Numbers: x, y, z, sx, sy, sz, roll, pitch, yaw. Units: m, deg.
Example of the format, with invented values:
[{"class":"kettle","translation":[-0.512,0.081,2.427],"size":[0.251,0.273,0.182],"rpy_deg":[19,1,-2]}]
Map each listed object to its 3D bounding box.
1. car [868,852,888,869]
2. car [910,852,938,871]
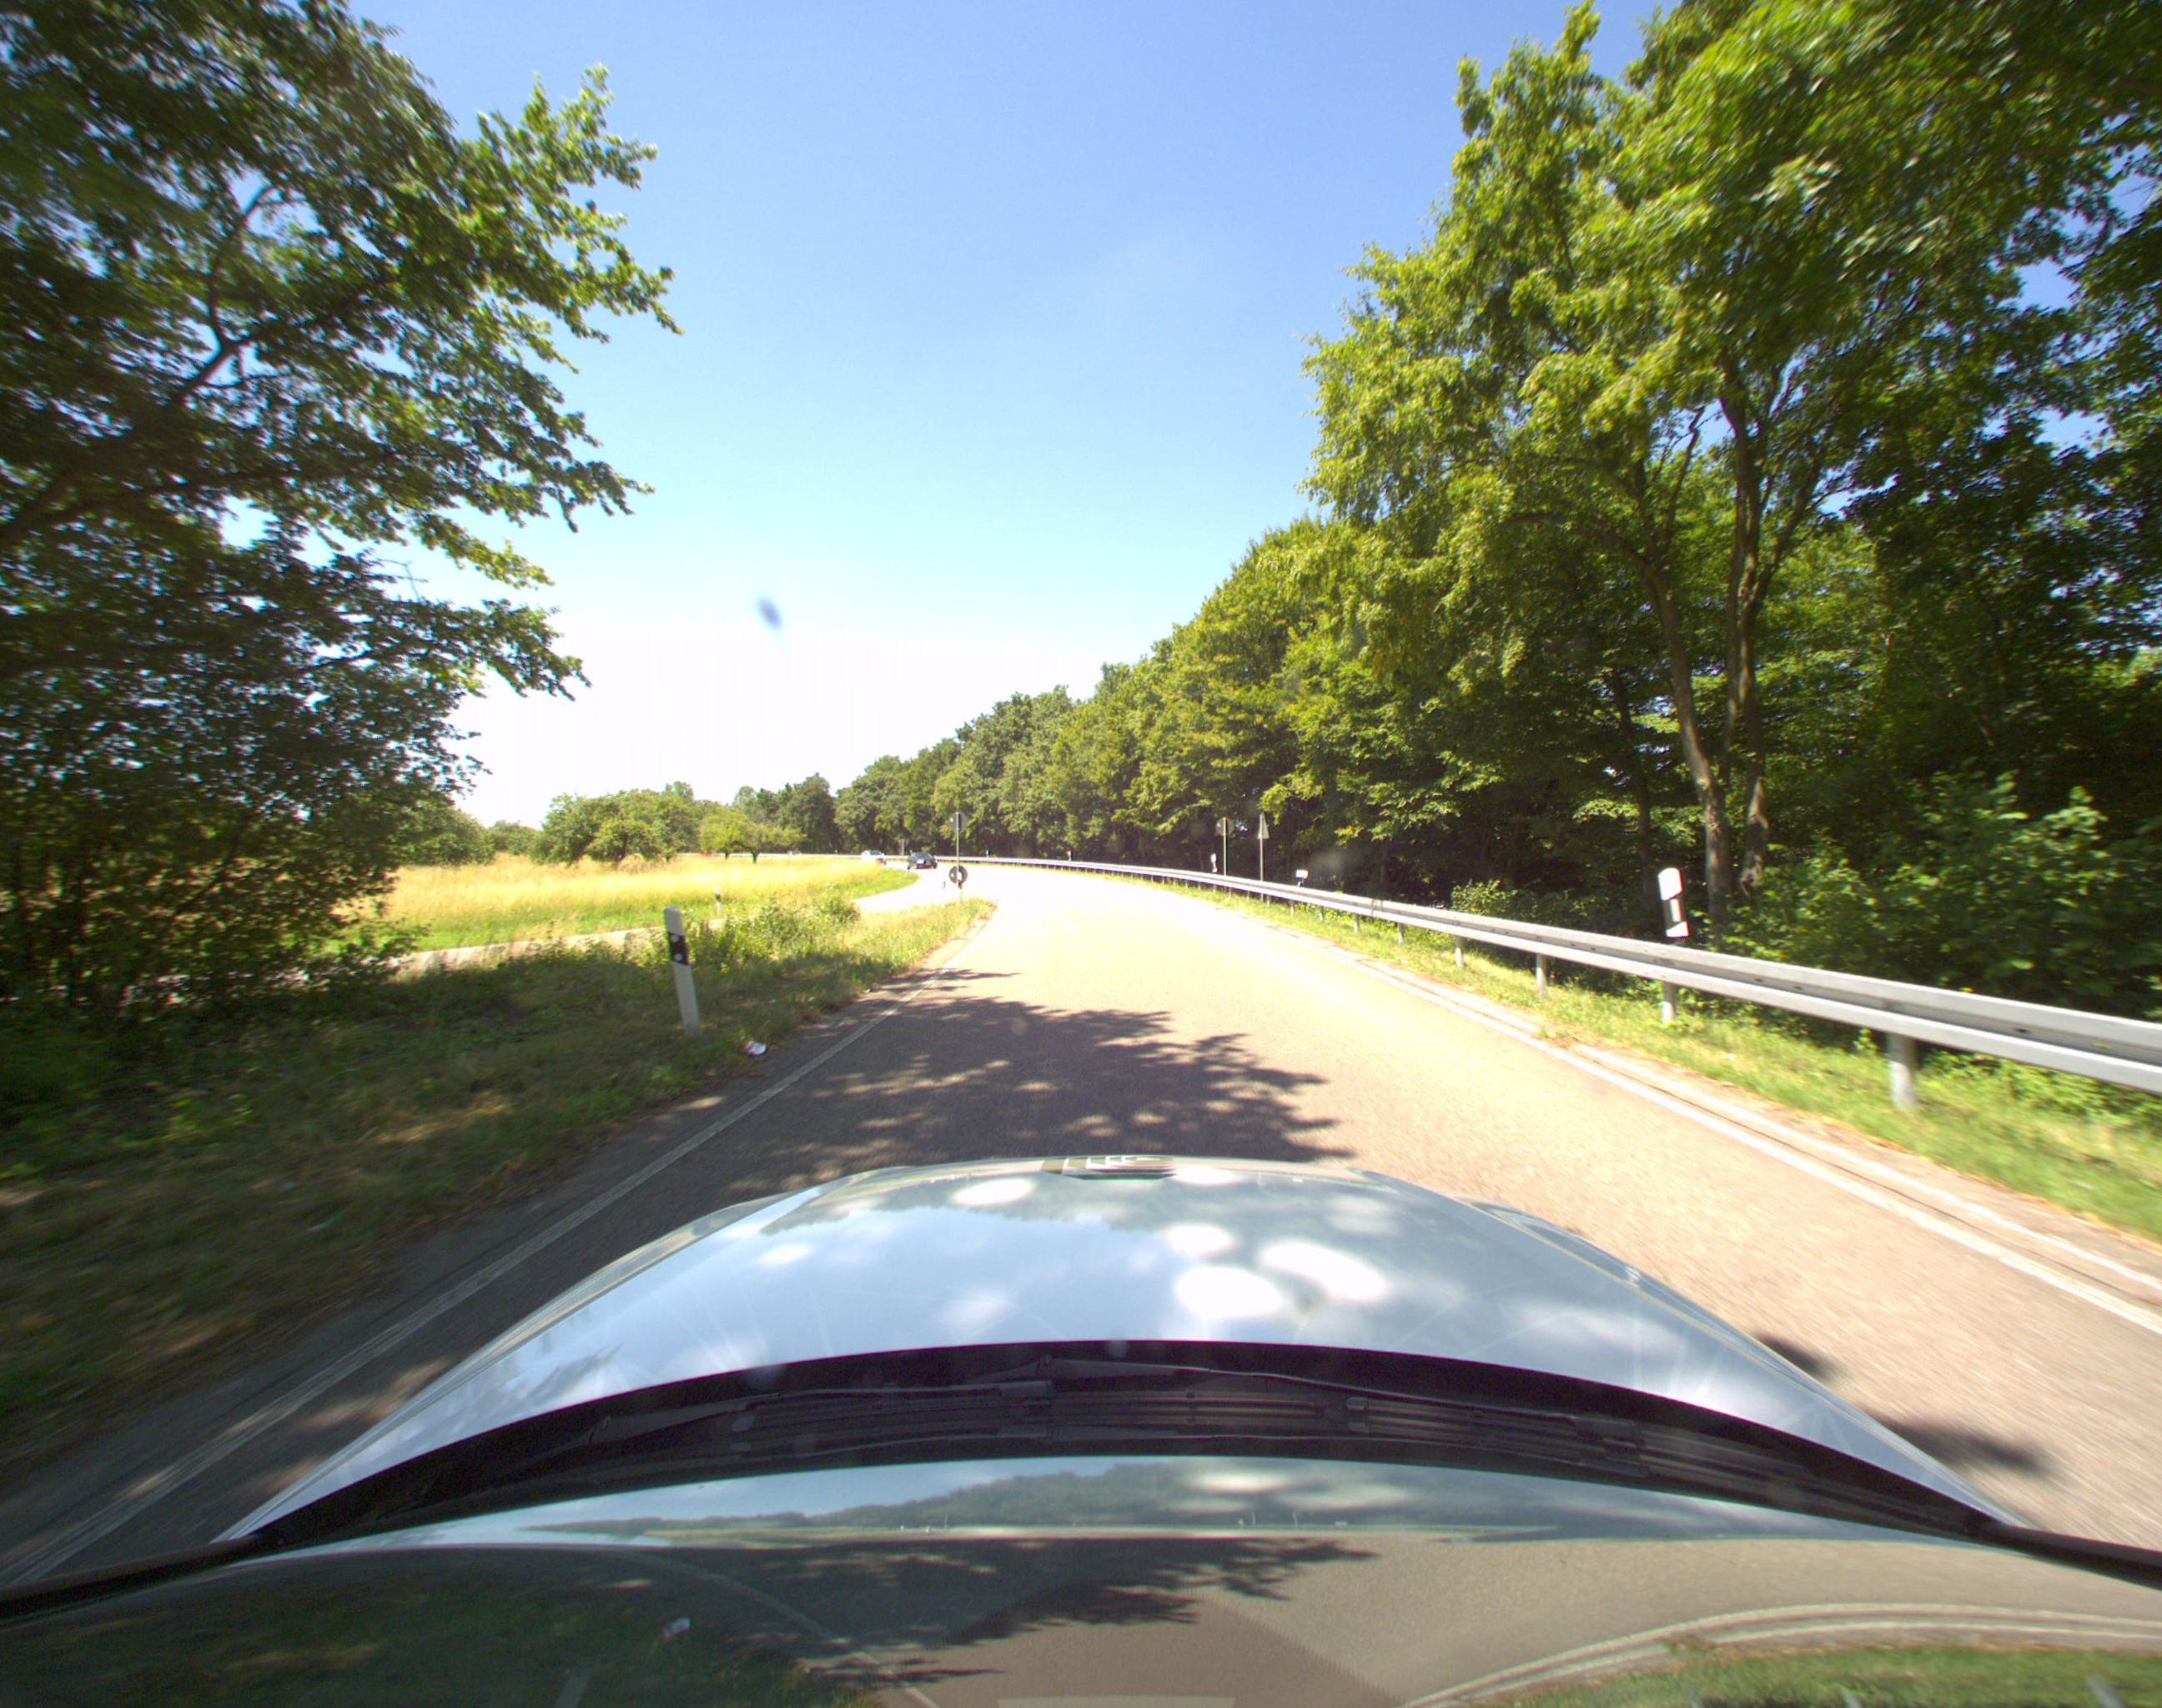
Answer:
[{"class":"car","translation":[-21.983,0.716,88.152],"size":[1.827,1.590,4.193],"rpy_deg":[-5,0,-17]},{"class":"car","translation":[-13.921,0.670,72.107],"size":[1.808,1.506,4.628],"rpy_deg":[-4,0,-19]}]
